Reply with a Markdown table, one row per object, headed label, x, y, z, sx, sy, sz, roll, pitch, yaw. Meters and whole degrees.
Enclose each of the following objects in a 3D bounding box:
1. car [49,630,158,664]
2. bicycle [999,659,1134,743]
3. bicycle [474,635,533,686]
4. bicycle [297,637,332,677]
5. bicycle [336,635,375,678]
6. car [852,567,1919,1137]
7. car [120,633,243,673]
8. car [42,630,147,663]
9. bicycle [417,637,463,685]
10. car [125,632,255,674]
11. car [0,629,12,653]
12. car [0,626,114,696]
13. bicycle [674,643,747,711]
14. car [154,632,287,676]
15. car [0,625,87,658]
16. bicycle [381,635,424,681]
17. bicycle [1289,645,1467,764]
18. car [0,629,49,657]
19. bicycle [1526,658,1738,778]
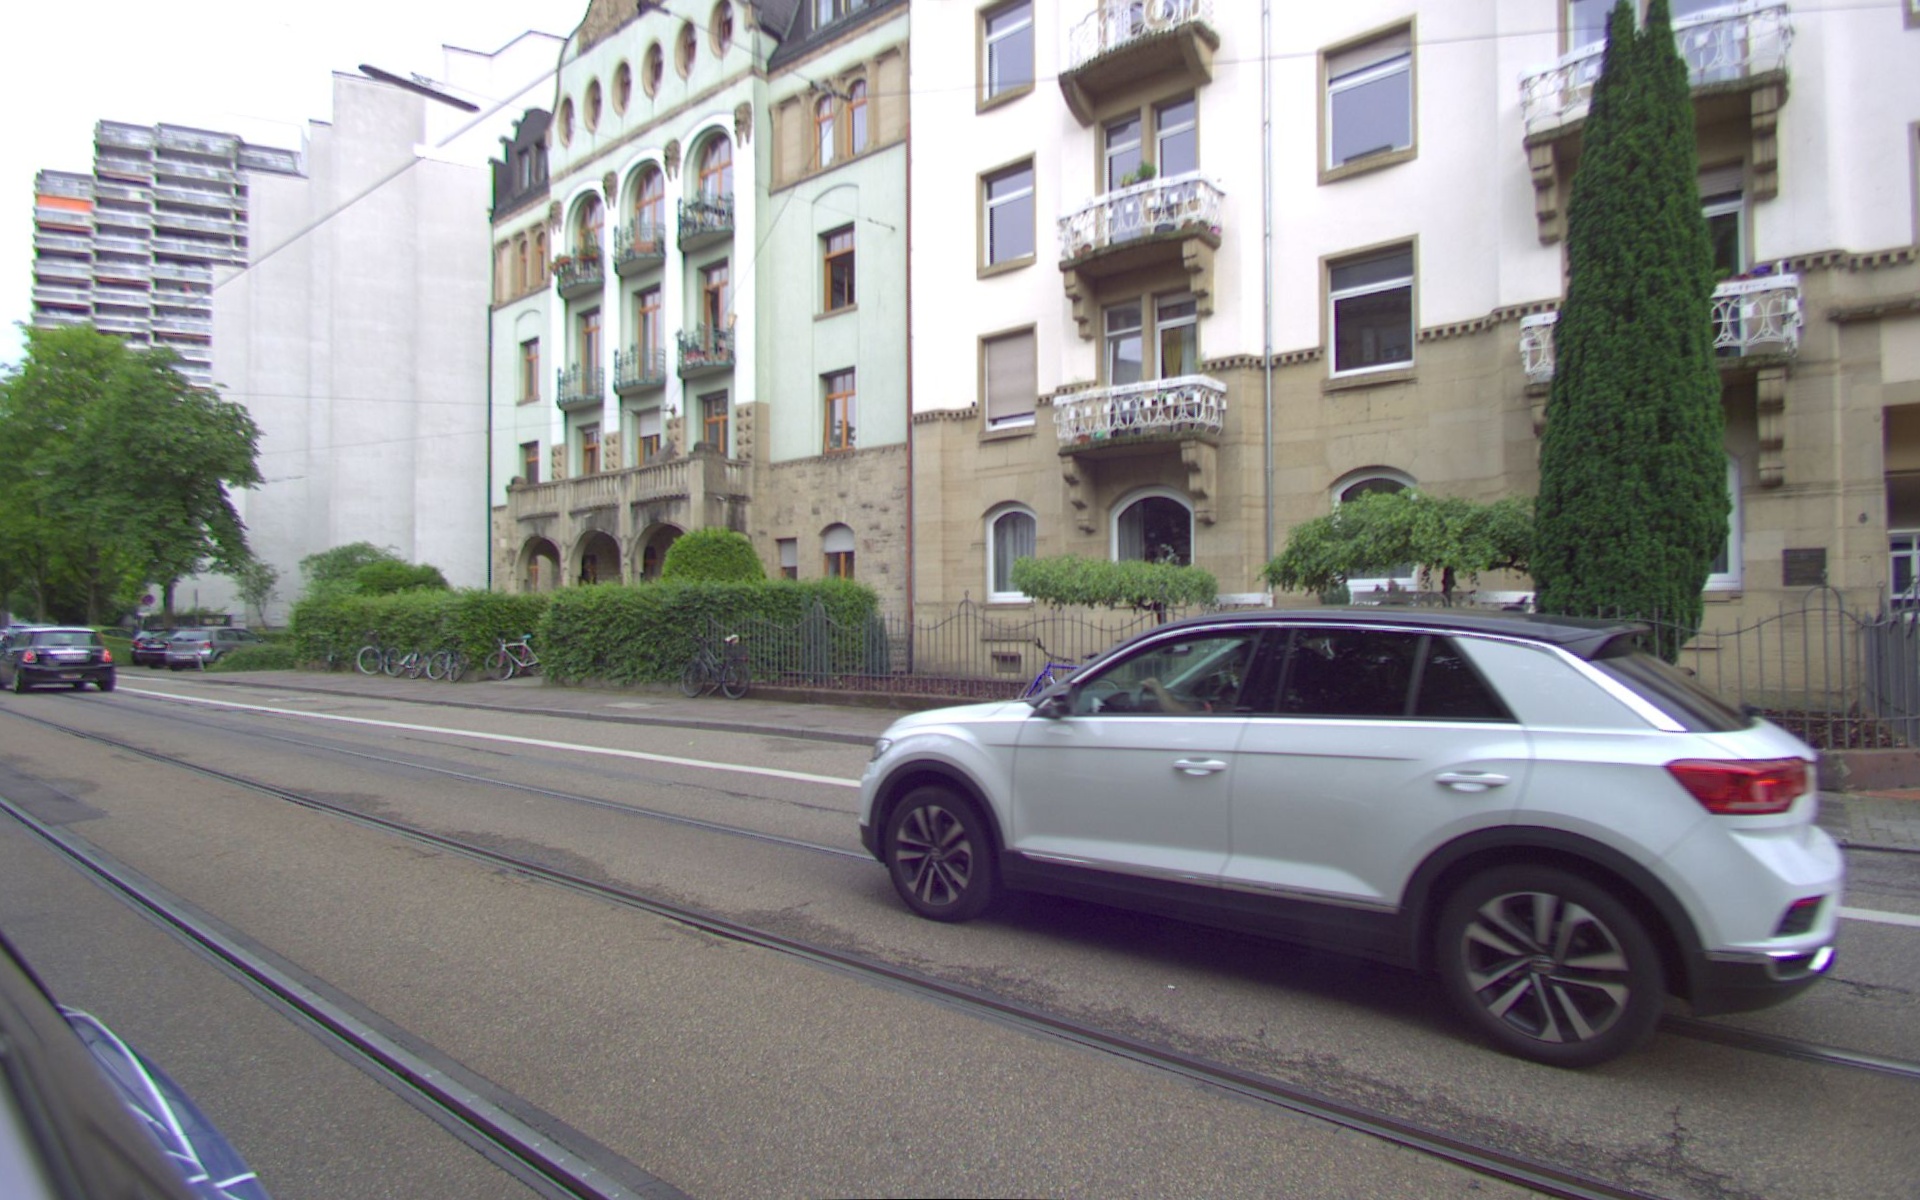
| label | x | y | z | sx | sy | sz | roll | pitch | yaw |
| --- | --- | --- | --- | --- | --- | --- | --- | --- | --- |
| car | -37.849 | 2.054 | 44.854 | 1.670 | 1.405 | 4.004 | 0 | -2 | -4 |
| bicycle | 1.323 | 1.250 | 12.755 | 1.660 | 0.935 | 0.354 | -3 | -22 | 42 |
| bicycle | -10.609 | 1.398 | 23.542 | 0.300 | 1.091 | 1.190 | -2 | 0 | 40 |
| bicycle | -18.095 | 1.579 | 28.349 | 1.545 | 1.092 | 0.356 | -2 | -2 | 39 |
| bicycle | -16.001 | 1.485 | 26.783 | 1.545 | 1.092 | 0.356 | -2 | -2 | 39 |
| car | 1.524 | 0.733 | 4.546 | 3.924 | 1.508 | 1.682 | -1 | -3 | 37 |
| car | -29.701 | 1.990 | 38.770 | 1.671 | 1.414 | 4.000 | 0 | -2 | -1 |
| car | -40.067 | 2.103 | 46.958 | 1.670 | 1.453 | 4.004 | 0 | -2 | -4 |
| bicycle | -12.156 | 1.414 | 23.640 | 1.545 | 1.092 | 0.356 | -2 | -2 | 39 |
| car | -27.556 | 1.863 | 36.391 | 1.671 | 1.414 | 4.000 | 0 | -2 | -1 |
| car | -65.825 | 2.766 | 67.475 | 1.670 | 1.632 | 4.004 | 0 | -2 | -4 |
| car | -20.267 | 1.307 | 22.389 | 3.480 | 1.433 | 1.594 | -1 | -3 | 37 |
| bicycle | -4.255 | 1.292 | 17.197 | 1.545 | 1.092 | 0.356 | -2 | -2 | 39 |
| car | -25.251 | 1.820 | 34.742 | 1.671 | 1.414 | 4.000 | 0 | -2 | -1 |
| car | -47.919 | 2.140 | 52.697 | 1.670 | 1.632 | 4.004 | 0 | -2 | -4 |
| bicycle | -13.732 | 1.412 | 24.910 | 1.545 | 1.092 | 0.356 | -2 | -2 | 39 |
| bicycle | 4.188 | 1.019 | 10.193 | 1.617 | 1.110 | 0.382 | -1 | -2 | 28 |
| car | -57.982 | 2.592 | 61.559 | 1.670 | 1.632 | 4.004 | 0 | -2 | -4 |
| bicycle | 5.871 | 0.998 | 8.895 | 1.513 | 0.945 | 0.329 | -2 | -2 | 39 |
